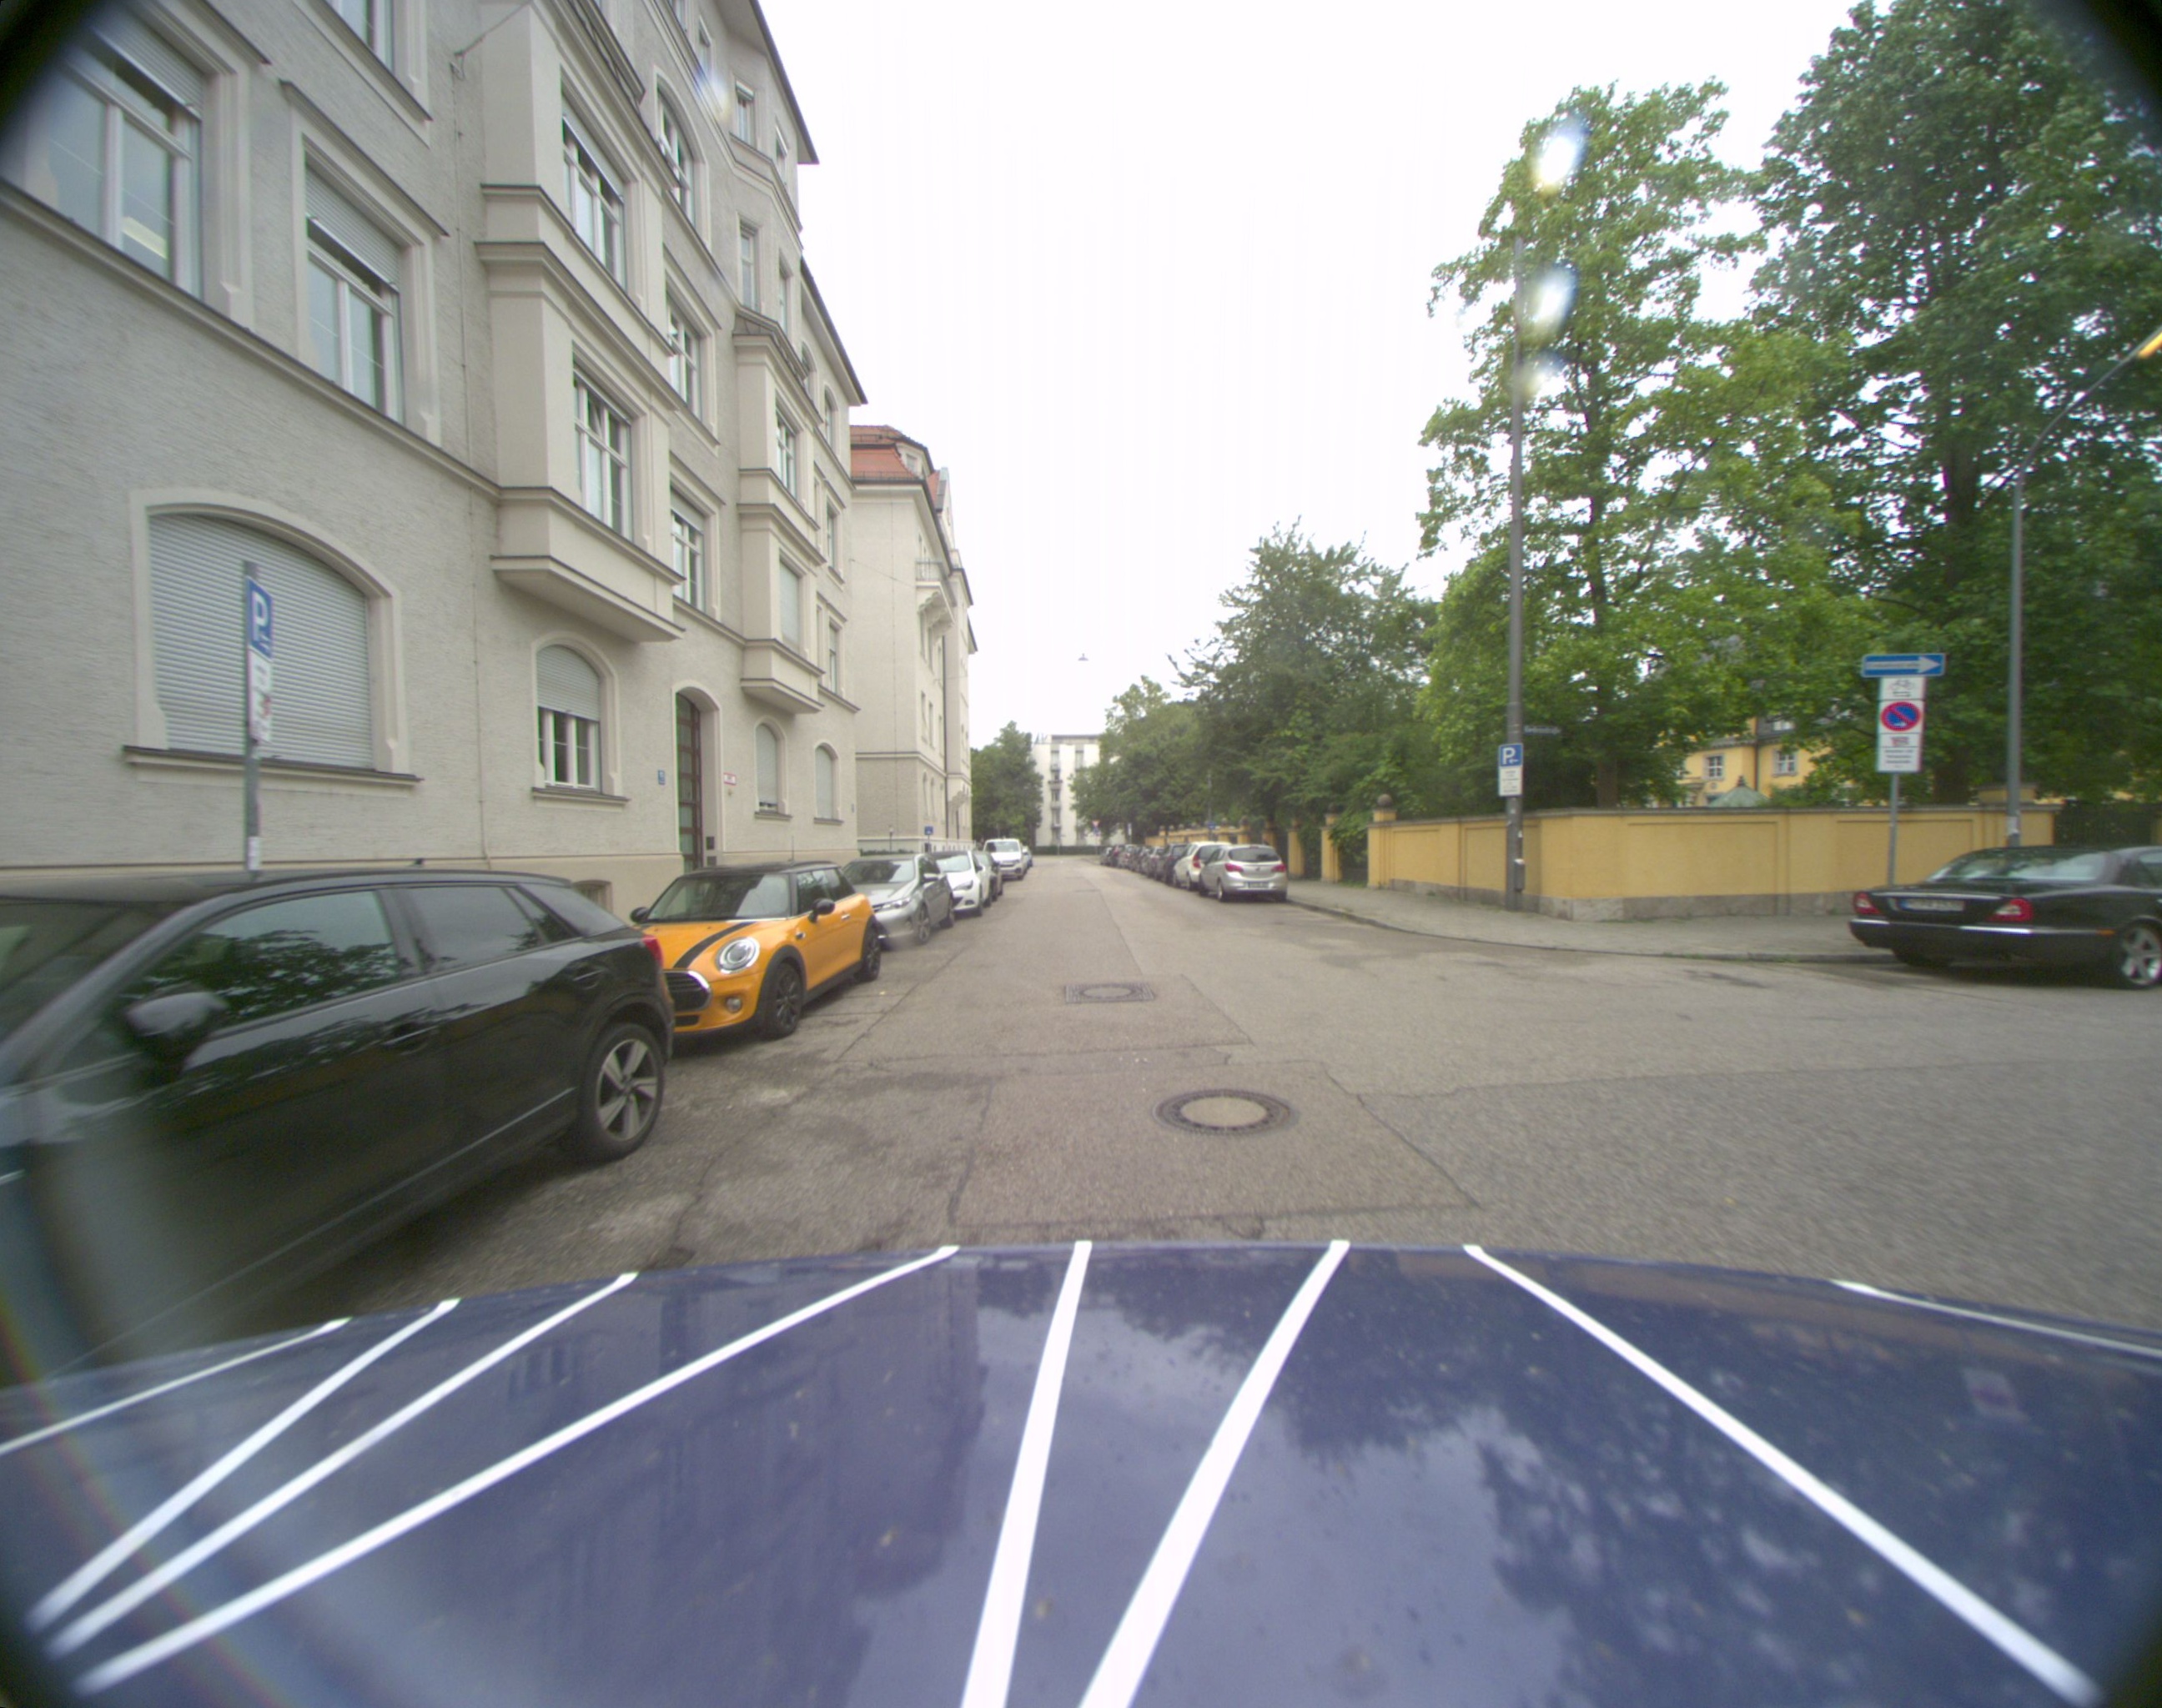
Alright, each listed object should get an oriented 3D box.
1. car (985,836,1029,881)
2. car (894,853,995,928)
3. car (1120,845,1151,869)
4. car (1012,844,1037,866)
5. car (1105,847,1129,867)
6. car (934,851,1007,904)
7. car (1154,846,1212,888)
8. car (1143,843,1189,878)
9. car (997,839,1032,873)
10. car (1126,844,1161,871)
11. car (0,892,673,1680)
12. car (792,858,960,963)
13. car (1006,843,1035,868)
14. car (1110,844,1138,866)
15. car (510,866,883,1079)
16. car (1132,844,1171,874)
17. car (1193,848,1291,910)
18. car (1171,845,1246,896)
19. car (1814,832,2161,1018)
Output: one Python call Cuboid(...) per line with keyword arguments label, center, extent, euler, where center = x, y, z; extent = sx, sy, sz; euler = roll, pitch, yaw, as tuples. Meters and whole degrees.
Cuboid(label="car", center=(-3.448, 0.189, 36.028), extent=(1.794, 1.926, 4.084), euler=(-2, 1, -2))
Cuboid(label="car", center=(-3.054, 0.750, 17.776), extent=(1.715, 1.462, 4.084), euler=(-2, 1, -2))
Cuboid(label="car", center=(3.528, 0.172, 49.716), extent=(1.653, 1.552, 3.929), euler=(0, 1, -2))
Cuboid(label="car", center=(-4.463, 0.049, 60.085), extent=(1.794, 1.639, 4.084), euler=(-2, 1, -2))
Cuboid(label="car", center=(2.805, 0.215, 60.007), extent=(1.653, 1.552, 3.929), euler=(0, 1, -2))
Cuboid(label="car", center=(-3.232, 0.638, 22.949), extent=(1.715, 1.382, 4.084), euler=(-2, 1, -2))
Cuboid(label="car", center=(4.002, 0.479, 30.371), extent=(1.653, 1.552, 3.929), euler=(0, 1, -2))
Cuboid(label="car", center=(3.948, 0.292, 35.833), extent=(1.653, 1.552, 3.929), euler=(0, 1, -2))
Cuboid(label="car", center=(-3.758, 0.081, 43.558), extent=(1.794, 1.776, 4.083), euler=(-2, 1, -3))
Cuboid(label="car", center=(3.720, 0.168, 45.618), extent=(1.653, 1.552, 3.929), euler=(0, 1, -2))
Cuboid(label="car", center=(-3.165, 1.000, 2.223), extent=(1.747, 1.507, 3.957), euler=(-1, 1, 0))
Cuboid(label="car", center=(-3.275, 0.828, 12.977), extent=(1.715, 1.382, 3.999), euler=(-2, 1, 0))
Cuboid(label="car", center=(-4.176, 0.103, 53.251), extent=(1.794, 1.639, 4.084), euler=(-2, 1, -2))
Cuboid(label="car", center=(3.017, 0.053, 54.043), extent=(1.653, 1.552, 3.929), euler=(0, 1, -2))
Cuboid(label="car", center=(-3.233, 0.882, 7.261), extent=(1.660, 1.432, 3.597), euler=(-1, 1, 1))
Cuboid(label="car", center=(3.808, 0.230, 41.468), extent=(1.653, 1.552, 3.929), euler=(0, 1, -2))
Cuboid(label="car", center=(4.252, 0.602, 20.642), extent=(1.705, 1.484, 3.955), euler=(0, 1, -2))
Cuboid(label="car", center=(4.184, 0.489, 25.518), extent=(1.705, 1.552, 3.929), euler=(-2, 1, -2))
Cuboid(label="car", center=(11.137, 0.632, 8.338), extent=(4.738, 1.733, 1.904), euler=(-1, 1, -7))
